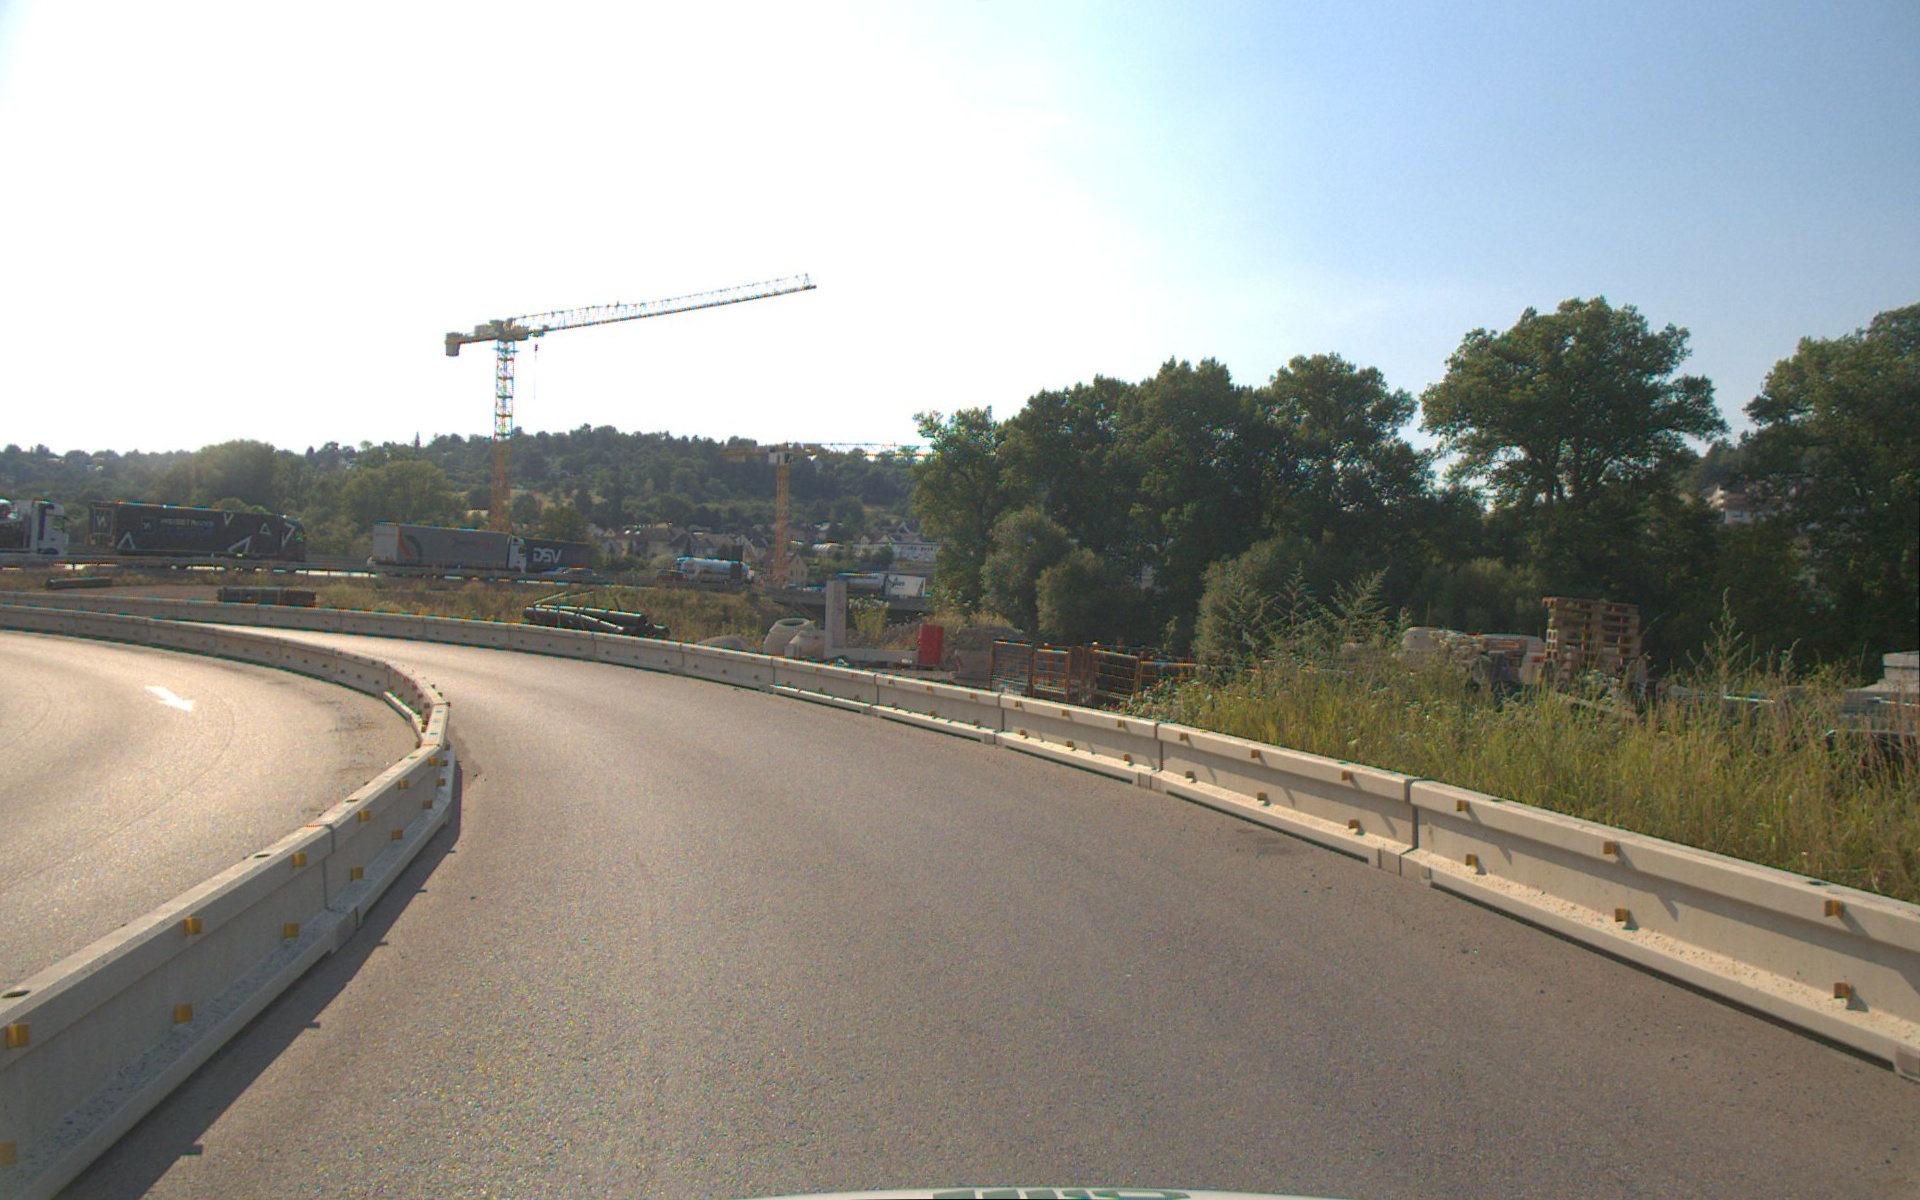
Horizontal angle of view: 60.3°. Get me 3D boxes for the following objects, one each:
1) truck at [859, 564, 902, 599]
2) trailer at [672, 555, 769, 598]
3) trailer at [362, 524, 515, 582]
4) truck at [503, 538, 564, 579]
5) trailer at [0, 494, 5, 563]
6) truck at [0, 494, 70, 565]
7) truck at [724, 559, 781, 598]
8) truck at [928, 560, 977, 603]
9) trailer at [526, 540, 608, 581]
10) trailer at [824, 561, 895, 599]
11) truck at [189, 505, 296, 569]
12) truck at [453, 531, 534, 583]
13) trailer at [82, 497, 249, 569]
[{"bbox_3d":[-10.365,-2.391,216.823,3.035,4.360,6.623,3,0,22],"label":"truck"},{"bbox_3d":[-25.625,-2.453,178.117,3.316,4.066,14.742,3,0,22],"label":"trailer"},{"bbox_3d":[-42.717,-3.784,136.465,3.316,4.066,14.742,3,0,22],"label":"trailer"},{"bbox_3d":[-41.831,-4.052,162.463,2.935,3.792,5.686,1,0,22],"label":"truck"},{"bbox_3d":[-60.908,-4.391,91.265,2.799,4.066,15.743,3,0,22],"label":"trailer"},{"bbox_3d":[-57.578,-4.294,99.616,2.791,4.066,6.623,3,0,22],"label":"truck"},{"bbox_3d":[-23.130,-2.344,184.415,3.321,4.066,6.623,3,0,22],"label":"truck"},{"bbox_3d":[-1.028,-2.653,241.525,3.100,5.973,10.671,1,0,23],"label":"truck"},{"bbox_3d":[-39.685,-3.960,167.544,2.946,3.817,9.566,1,0,23],"label":"trailer"},{"bbox_3d":[-12.700,-2.469,211.038,3.041,4.389,14.249,3,0,22],"label":"trailer"},{"bbox_3d":[-50.555,-4.404,116.695,2.827,4.066,6.622,3,0,23],"label":"truck"},{"bbox_3d":[-40.209,-3.669,142.763,3.275,4.066,6.623,3,0,22],"label":"truck"},{"bbox_3d":[-53.038,-4.394,110.910,2.899,4.163,10.789,2,0,23],"label":"trailer"}]
